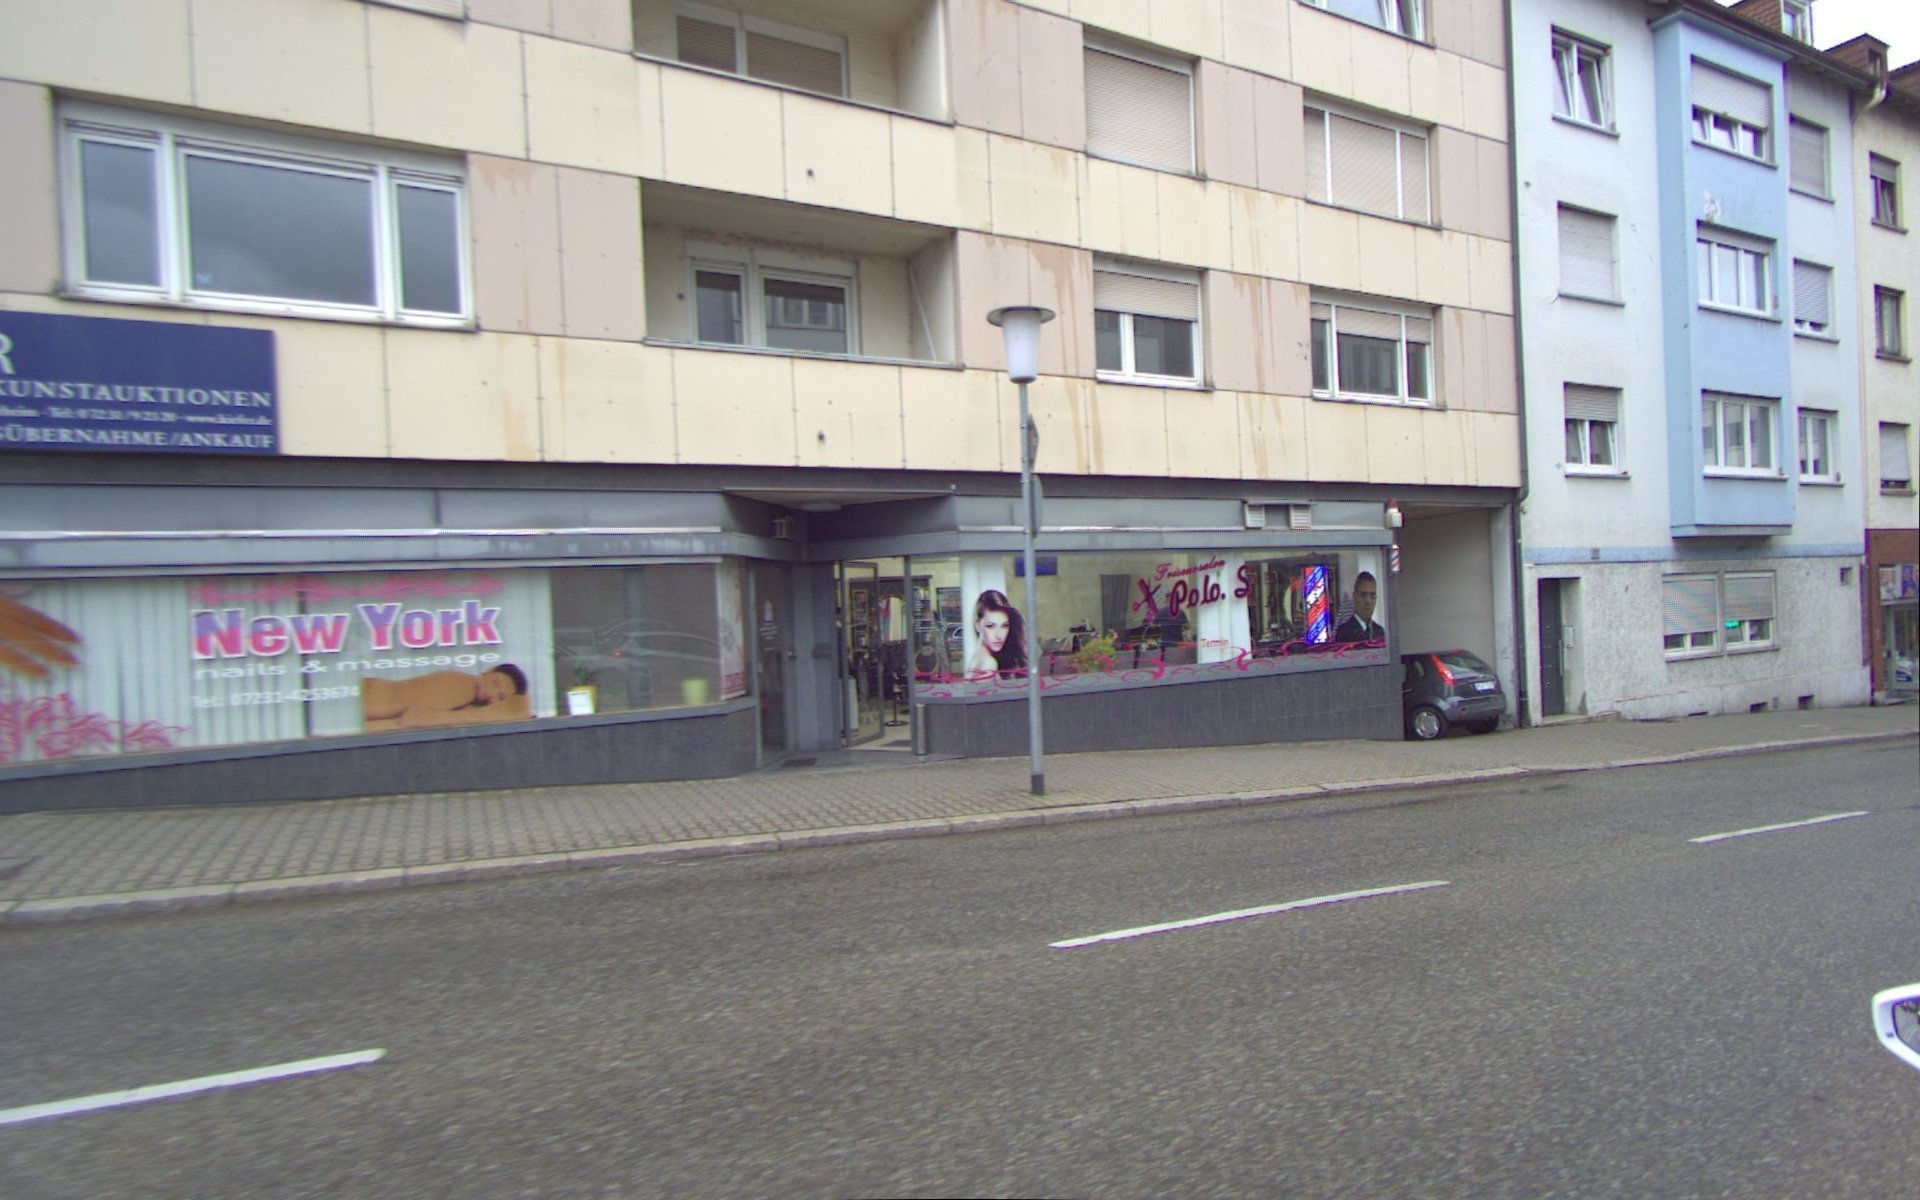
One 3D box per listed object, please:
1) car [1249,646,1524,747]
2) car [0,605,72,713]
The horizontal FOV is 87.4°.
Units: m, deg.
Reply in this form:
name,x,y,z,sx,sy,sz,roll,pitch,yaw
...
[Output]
name,x,y,z,sx,sy,sz,roll,pitch,yaw
car,7.112,1.709,17.136,1.661,1.366,3.968,-1,-7,-34
car,-14.244,0.842,13.407,1.722,1.486,3.993,1,0,-10
